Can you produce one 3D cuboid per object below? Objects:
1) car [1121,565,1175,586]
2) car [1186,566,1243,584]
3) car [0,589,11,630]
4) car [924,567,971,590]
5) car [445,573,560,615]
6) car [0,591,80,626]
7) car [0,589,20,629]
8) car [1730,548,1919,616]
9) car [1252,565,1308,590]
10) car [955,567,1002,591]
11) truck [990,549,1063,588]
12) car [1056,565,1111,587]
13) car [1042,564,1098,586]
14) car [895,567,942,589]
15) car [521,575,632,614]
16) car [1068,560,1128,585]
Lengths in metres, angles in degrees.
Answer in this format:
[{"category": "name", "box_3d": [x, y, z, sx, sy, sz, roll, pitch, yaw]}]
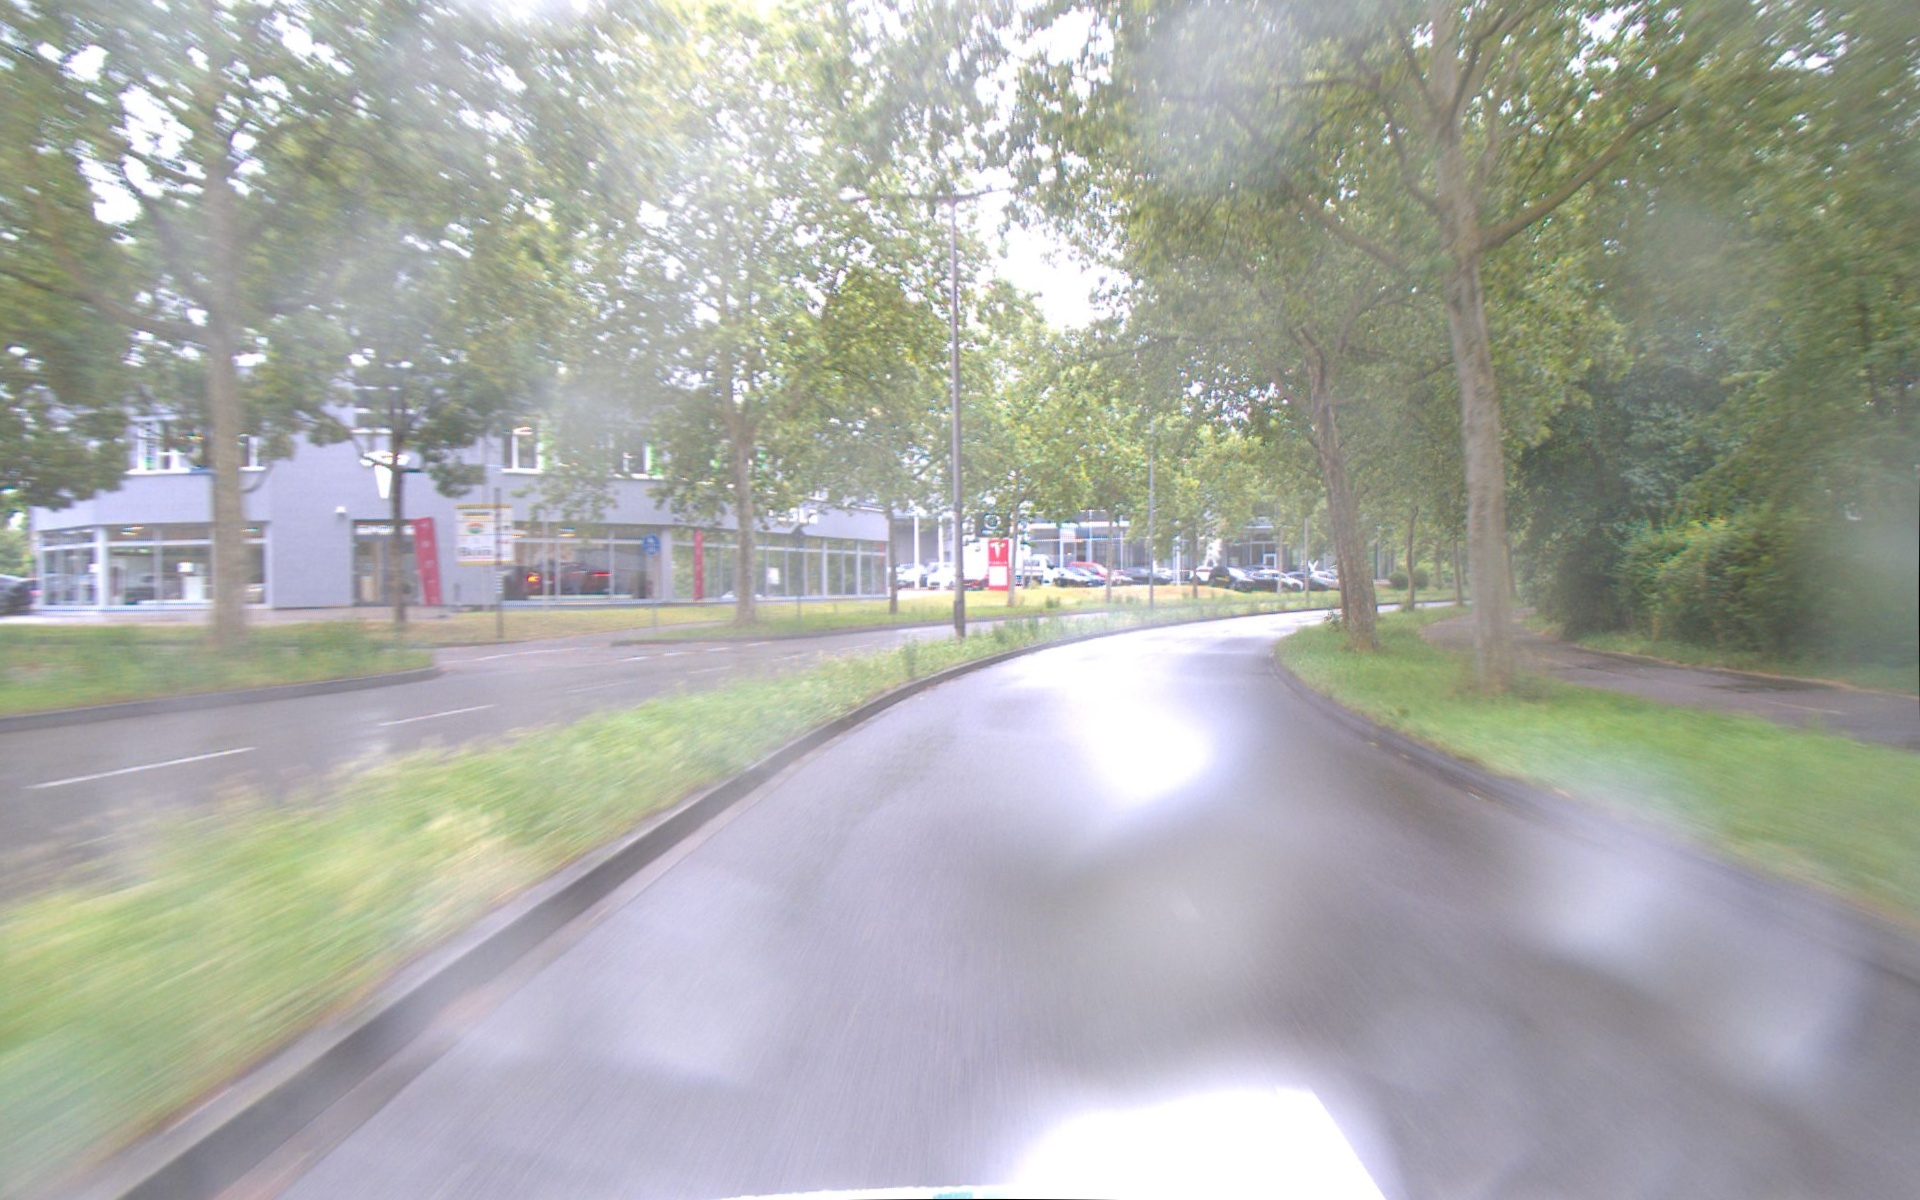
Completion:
[{"category": "car", "box_3d": [14.627, -1.933, 128.630, 3.911, 1.380, 1.850, 3, 3, 12]}, {"category": "car", "box_3d": [21.096, -2.087, 137.264, 4.336, 1.499, 1.918, 1, 1, 28]}, {"category": "car", "box_3d": [-37.285, 0.344, 60.500, 4.111, 1.520, 1.596, 0, 0, -7]}, {"category": "car", "box_3d": [-0.832, -1.520, 114.652, 1.727, 1.421, 4.156, 2, 3, 23]}, {"category": "car", "box_3d": [-17.182, -0.235, 62.111, 4.106, 1.520, 1.598, 0, 0, 23]}, {"category": "car", "box_3d": [-40.277, 0.366, 71.817, 3.242, 1.520, 1.596, 0, 0, -7]}, {"category": "car", "box_3d": [-38.593, 0.348, 63.402, 4.111, 1.520, 1.596, 0, 0, -7]}, {"category": "car", "box_3d": [22.006, -0.458, 42.131, 3.903, 1.680, 1.926, 0, 0, 3]}, {"category": "car", "box_3d": [26.553, -1.897, 137.150, 4.042, 1.503, 1.845, 5, 6, -10]}, {"category": "car", "box_3d": [1.277, -1.450, 112.832, 1.727, 1.492, 4.156, 2, 3, 23]}, {"category": "truck", "box_3d": [4.546, -2.172, 111.817, 2.206, 2.384, 6.183, 4, 4, 30]}, {"category": "car", "box_3d": [8.754, -1.740, 117.371, 3.458, 1.349, 1.765, 4, 4, 30]}, {"category": "car", "box_3d": [7.645, -1.755, 115.366, 3.458, 1.349, 1.765, 4, 4, 30]}, {"category": "car", "box_3d": [-2.905, -1.552, 115.682, 1.727, 1.421, 4.156, 2, 3, 23]}, {"category": "car", "box_3d": [-15.080, -0.232, 65.047, 4.106, 1.520, 1.598, 0, 0, 23]}, {"category": "car", "box_3d": [9.977, -1.992, 119.799, 3.922, 1.583, 1.844, 4, 4, 30]}]
